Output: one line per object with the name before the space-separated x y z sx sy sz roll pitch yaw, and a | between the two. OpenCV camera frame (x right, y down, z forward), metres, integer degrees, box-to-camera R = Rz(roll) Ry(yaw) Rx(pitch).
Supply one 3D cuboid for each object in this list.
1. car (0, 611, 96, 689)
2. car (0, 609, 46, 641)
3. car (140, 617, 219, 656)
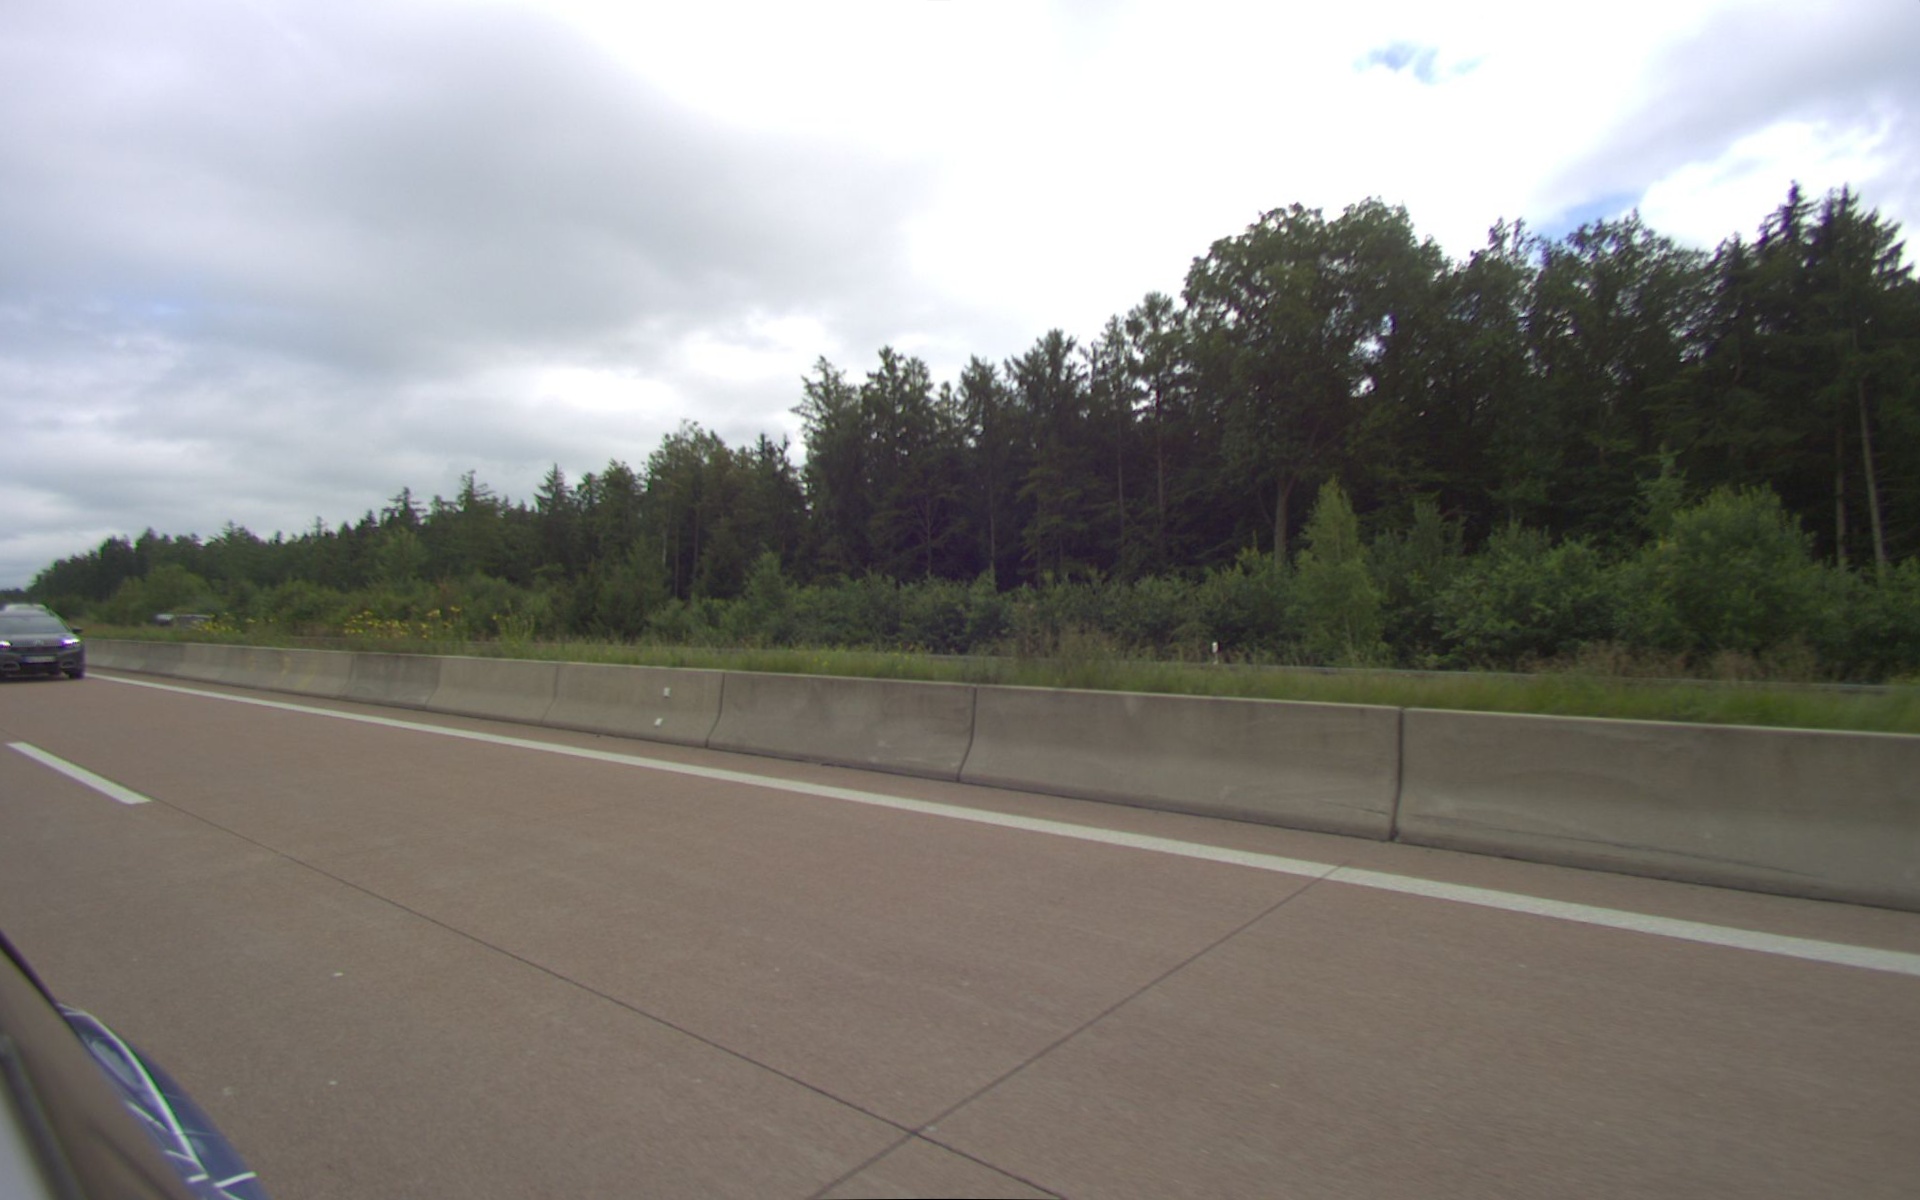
car | -22.878 1.165 24.637 5.248 1.711 1.973 -1 -1 40
car | -66.342 1.744 71.254 7.484 2.157 2.051 -1 0 41
car | -43.792 1.990 56.733 6.372 2.029 2.200 -1 0 40
